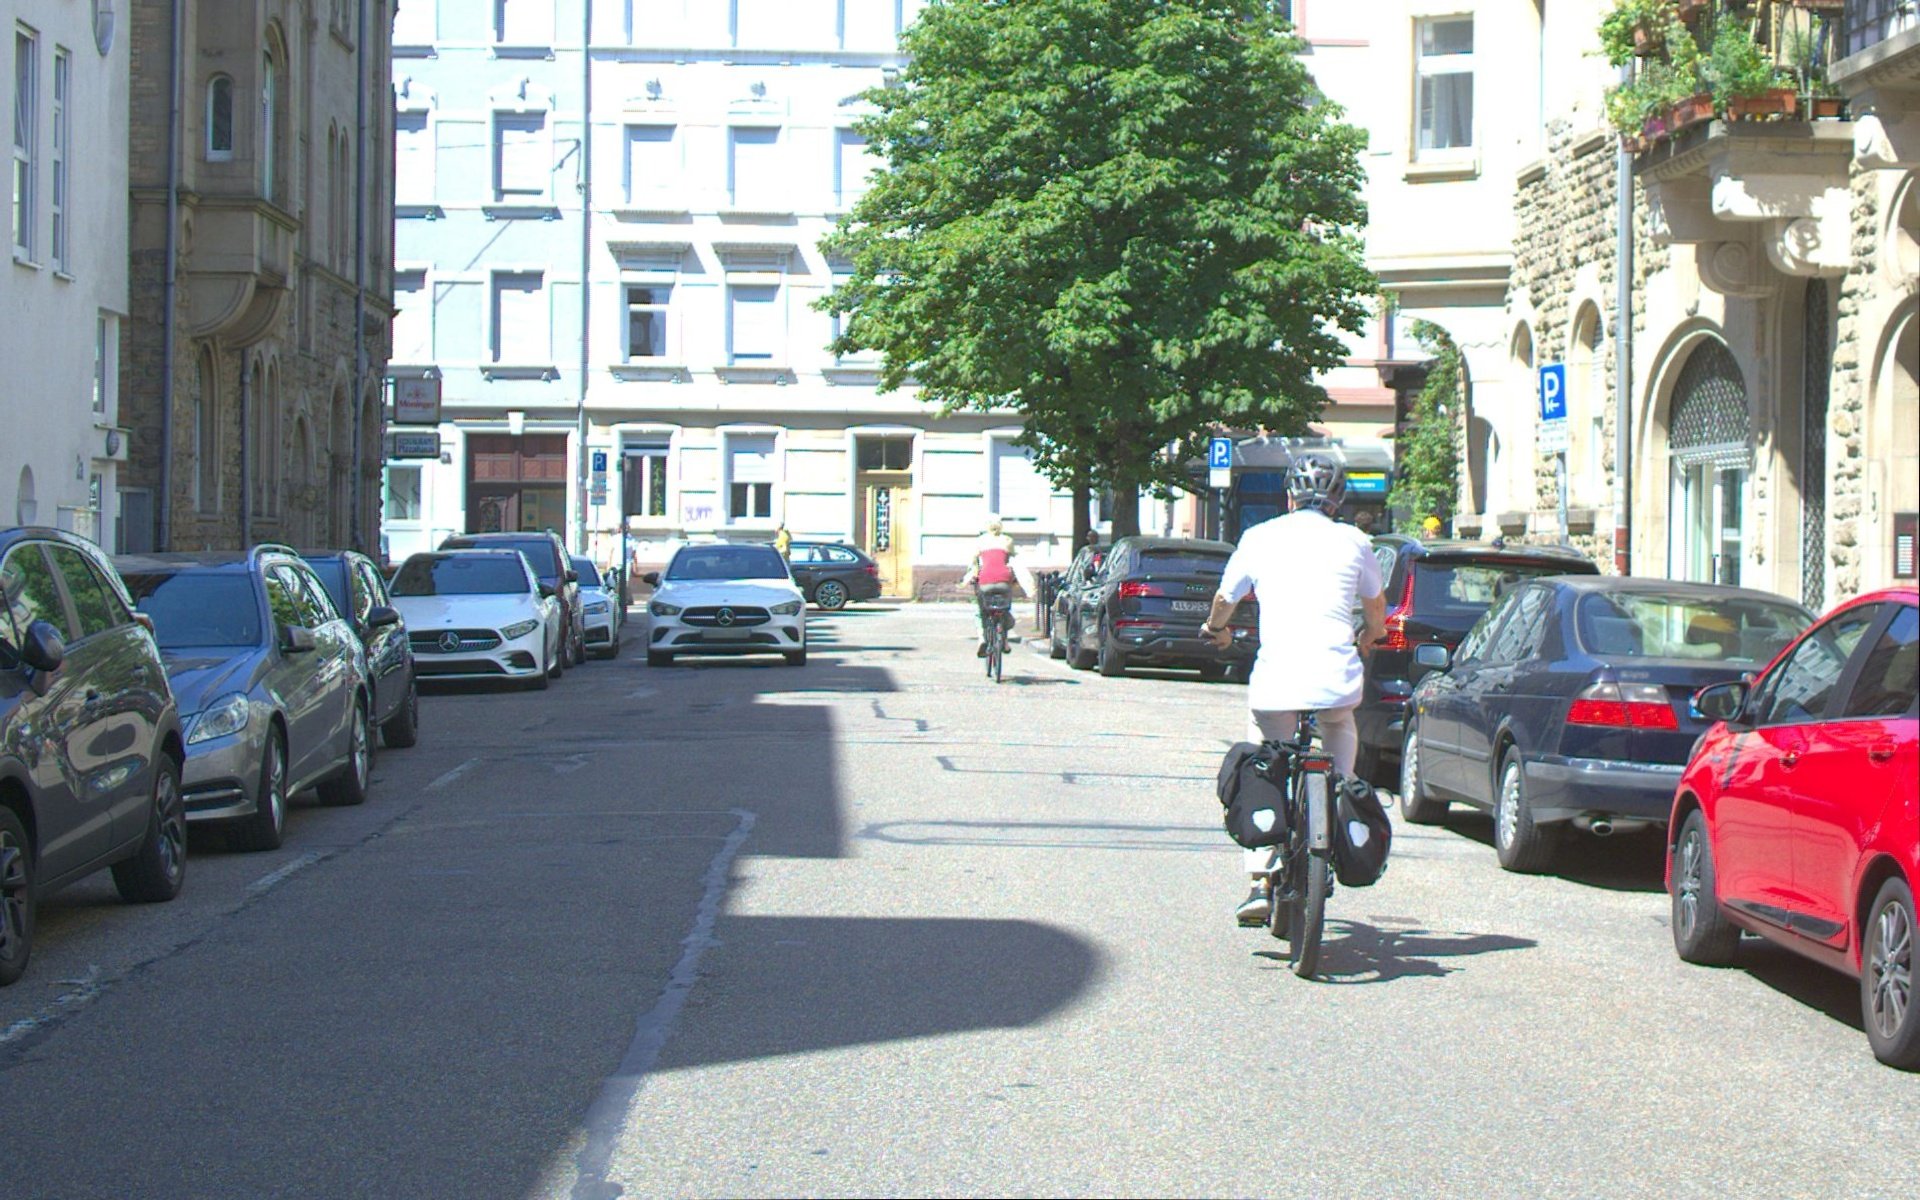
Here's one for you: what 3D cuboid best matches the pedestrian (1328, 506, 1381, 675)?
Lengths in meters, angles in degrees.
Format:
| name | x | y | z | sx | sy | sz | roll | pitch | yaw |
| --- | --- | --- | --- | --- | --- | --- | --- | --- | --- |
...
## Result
| name | x | y | z | sx | sy | sz | roll | pitch | yaw |
| --- | --- | --- | --- | --- | --- | --- | --- | --- | --- |
| pedestrian | 4.405 | -0.106 | 38.440 | 0.518 | 1.862 | 0.653 | 1 | 0 | 3 |

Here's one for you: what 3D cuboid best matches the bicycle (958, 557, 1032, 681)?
| name | x | y | z | sx | sy | sz | roll | pitch | yaw |
| --- | --- | --- | --- | --- | --- | --- | --- | --- | --- |
| bicycle | 0.347 | 0.173 | 35.373 | 0.652 | 1.205 | 2.441 | 2 | 1 | -1 |

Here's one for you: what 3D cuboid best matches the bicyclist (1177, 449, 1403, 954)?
| name | x | y | z | sx | sy | sz | roll | pitch | yaw |
| --- | --- | --- | --- | --- | --- | --- | --- | --- | --- |
| bicyclist | 1.183 | 0.356 | 12.434 | 0.670 | 1.754 | 0.609 | 3 | 1 | -1 |

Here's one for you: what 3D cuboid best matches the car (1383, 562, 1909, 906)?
| name | x | y | z | sx | sy | sz | roll | pitch | yaw |
| --- | --- | --- | --- | --- | --- | --- | --- | --- | --- |
| car | 3.309 | 0.579 | 17.328 | 1.512 | 1.394 | 3.973 | 5 | 1 | -4 |

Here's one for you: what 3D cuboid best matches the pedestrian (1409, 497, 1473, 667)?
| name | x | y | z | sx | sy | sz | roll | pitch | yaw |
| --- | --- | --- | --- | --- | --- | --- | --- | --- | --- |
| pedestrian | 5.376 | -0.205 | 38.441 | 0.599 | 1.873 | 0.883 | 1 | 0 | 3 |

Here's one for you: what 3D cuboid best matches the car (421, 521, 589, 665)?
| name | x | y | z | sx | sy | sz | roll | pitch | yaw |
| --- | --- | --- | --- | --- | --- | --- | --- | --- | --- |
| car | -5.327 | -0.106 | 40.666 | 1.672 | 1.577 | 4.053 | -1 | 1 | -4 |

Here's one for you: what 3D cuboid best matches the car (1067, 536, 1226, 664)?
| name | x | y | z | sx | sy | sz | roll | pitch | yaw |
| --- | --- | --- | --- | --- | --- | --- | --- | --- | --- |
| car | 2.414 | -0.032 | 45.436 | 1.663 | 1.535 | 4.178 | 3 | 1 | -2 |

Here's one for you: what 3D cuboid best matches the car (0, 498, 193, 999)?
| name | x | y | z | sx | sy | sz | roll | pitch | yaw |
| --- | --- | --- | --- | --- | --- | --- | --- | --- | --- |
| car | -4.015 | 0.481 | 12.669 | 1.603 | 1.638 | 3.977 | -1 | 1 | -2 |

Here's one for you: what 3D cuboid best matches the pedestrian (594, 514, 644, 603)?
| name | x | y | z | sx | sy | sz | roll | pitch | yaw |
| --- | --- | --- | --- | --- | --- | --- | --- | --- | --- |
| pedestrian | -7.247 | -0.885 | 73.162 | 0.850 | 1.882 | 0.935 | 0 | 1 | 9 |

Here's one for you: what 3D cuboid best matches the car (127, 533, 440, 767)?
| name | x | y | z | sx | sy | sz | roll | pitch | yaw |
| --- | --- | --- | --- | --- | --- | --- | --- | --- | --- |
| car | -4.713 | 0.297 | 24.394 | 1.567 | 1.486 | 3.894 | -1 | 1 | -2 |

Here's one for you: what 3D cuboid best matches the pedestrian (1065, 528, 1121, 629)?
| name | x | y | z | sx | sy | sz | roll | pitch | yaw |
| --- | --- | --- | --- | --- | --- | --- | --- | --- | --- |
| pedestrian | 2.210 | -0.362 | 57.228 | 0.857 | 1.666 | 0.774 | 0 | 1 | -2 |

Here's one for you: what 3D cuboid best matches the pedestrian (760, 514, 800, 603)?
| name | x | y | z | sx | sy | sz | roll | pitch | yaw |
| --- | --- | --- | --- | --- | --- | --- | --- | --- | --- |
| pedestrian | -3.777 | -0.864 | 72.027 | 0.724 | 1.847 | 0.685 | 0 | 1 | -12 |

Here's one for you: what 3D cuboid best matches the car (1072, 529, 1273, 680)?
| name | x | y | z | sx | sy | sz | roll | pitch | yaw |
| --- | --- | --- | --- | --- | --- | --- | --- | --- | --- |
| car | 2.428 | 0.008 | 40.264 | 1.735 | 1.591 | 4.349 | 3 | 1 | -4 |

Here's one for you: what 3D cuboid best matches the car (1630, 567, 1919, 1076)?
| name | x | y | z | sx | sy | sz | roll | pitch | yaw |
| --- | --- | --- | --- | --- | --- | --- | --- | --- | --- |
| car | 3.535 | 0.662 | 11.738 | 1.570 | 1.447 | 3.843 | 3 | 1 | -2 |

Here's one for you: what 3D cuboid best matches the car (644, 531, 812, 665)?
| name | x | y | z | sx | sy | sz | roll | pitch | yaw |
| --- | --- | --- | --- | --- | --- | --- | --- | --- | --- |
| car | -2.701 | -0.053 | 40.795 | 1.841 | 1.456 | 4.363 | -1 | 1 | -2 |

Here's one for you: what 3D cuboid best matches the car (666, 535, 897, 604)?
| name | x | y | z | sx | sy | sz | roll | pitch | yaw |
| --- | --- | --- | --- | --- | --- | --- | --- | --- | --- |
| car | -3.808 | -0.649 | 73.490 | 4.859 | 1.432 | 2.000 | 0 | 1 | -2 |

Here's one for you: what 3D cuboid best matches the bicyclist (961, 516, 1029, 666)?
| name | x | y | z | sx | sy | sz | roll | pitch | yaw |
| --- | --- | --- | --- | --- | --- | --- | --- | --- | --- |
| bicyclist | 0.355 | -0.097 | 35.364 | 0.670 | 1.528 | 0.609 | 0 | 1 | -1 |

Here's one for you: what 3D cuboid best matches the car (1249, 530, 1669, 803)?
| name | x | y | z | sx | sy | sz | roll | pitch | yaw |
| --- | --- | --- | --- | --- | --- | --- | --- | --- | --- |
| car | 3.203 | 0.365 | 23.031 | 1.833 | 1.561 | 4.606 | 3 | 1 | -3 |

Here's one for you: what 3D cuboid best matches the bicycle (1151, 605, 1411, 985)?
| name | x | y | z | sx | sy | sz | roll | pitch | yaw |
| --- | --- | --- | --- | --- | --- | --- | --- | --- | --- |
| bicycle | 1.158 | 0.664 | 12.884 | 0.652 | 1.224 | 2.441 | 2 | 1 | -1 |

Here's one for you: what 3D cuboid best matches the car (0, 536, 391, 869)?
| name | x | y | z | sx | sy | sz | roll | pitch | yaw |
| --- | --- | --- | --- | --- | --- | --- | --- | --- | --- |
| car | -4.164 | 0.445 | 18.258 | 1.656 | 1.513 | 4.672 | -1 | 1 | -2 |

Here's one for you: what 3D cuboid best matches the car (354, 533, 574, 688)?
| name | x | y | z | sx | sy | sz | roll | pitch | yaw |
| --- | --- | --- | --- | --- | --- | --- | --- | --- | --- |
| car | -5.013 | 0.070 | 35.244 | 1.776 | 1.455 | 4.279 | -1 | 1 | -2 |

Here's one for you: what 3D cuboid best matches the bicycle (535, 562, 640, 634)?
| name | x | y | z | sx | sy | sz | roll | pitch | yaw |
| --- | --- | --- | --- | --- | --- | --- | --- | --- | --- |
| bicycle | -5.669 | -0.034 | 52.353 | 1.524 | 1.004 | 0.367 | 3 | 0 | -6 |

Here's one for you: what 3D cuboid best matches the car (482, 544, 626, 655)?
| name | x | y | z | sx | sy | sz | roll | pitch | yaw |
| --- | --- | --- | --- | --- | --- | --- | --- | --- | --- |
| car | -5.336 | -0.037 | 45.597 | 1.701 | 1.348 | 4.516 | -1 | 1 | -4 |
